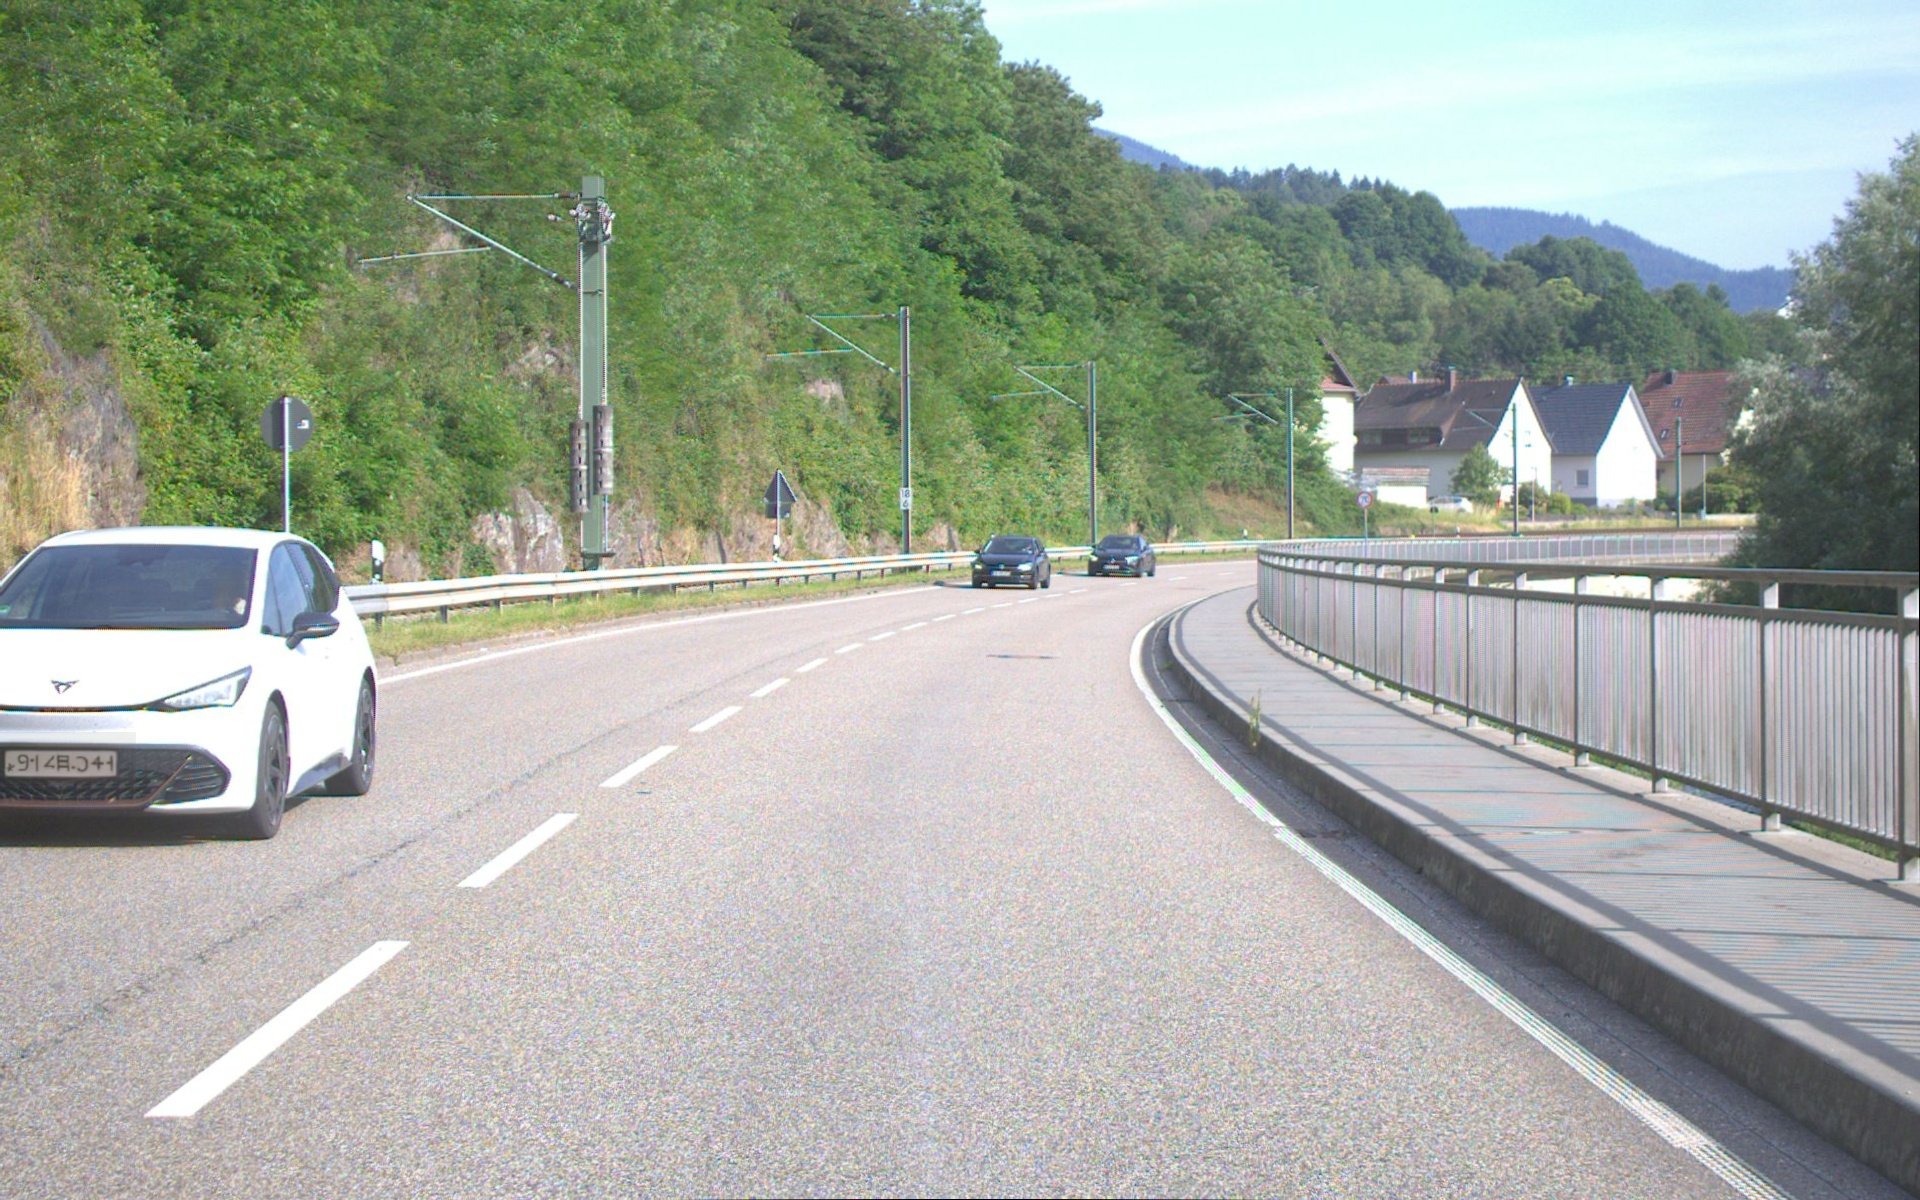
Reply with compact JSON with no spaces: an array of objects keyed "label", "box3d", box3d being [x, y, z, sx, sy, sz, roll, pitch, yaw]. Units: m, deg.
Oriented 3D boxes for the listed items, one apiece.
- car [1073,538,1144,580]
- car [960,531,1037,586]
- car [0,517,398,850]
[{"label":"car","box3d":[5.109,-1.424,117.481,1.848,1.397,4.474,0,1,10]},{"label":"car","box3d":[1.087,-1.167,95.171,1.847,1.435,3.897,-2,1,4]},{"label":"car","box3d":[-4.299,0.343,18.481,1.847,1.539,4.604,1,1,-1]}]
